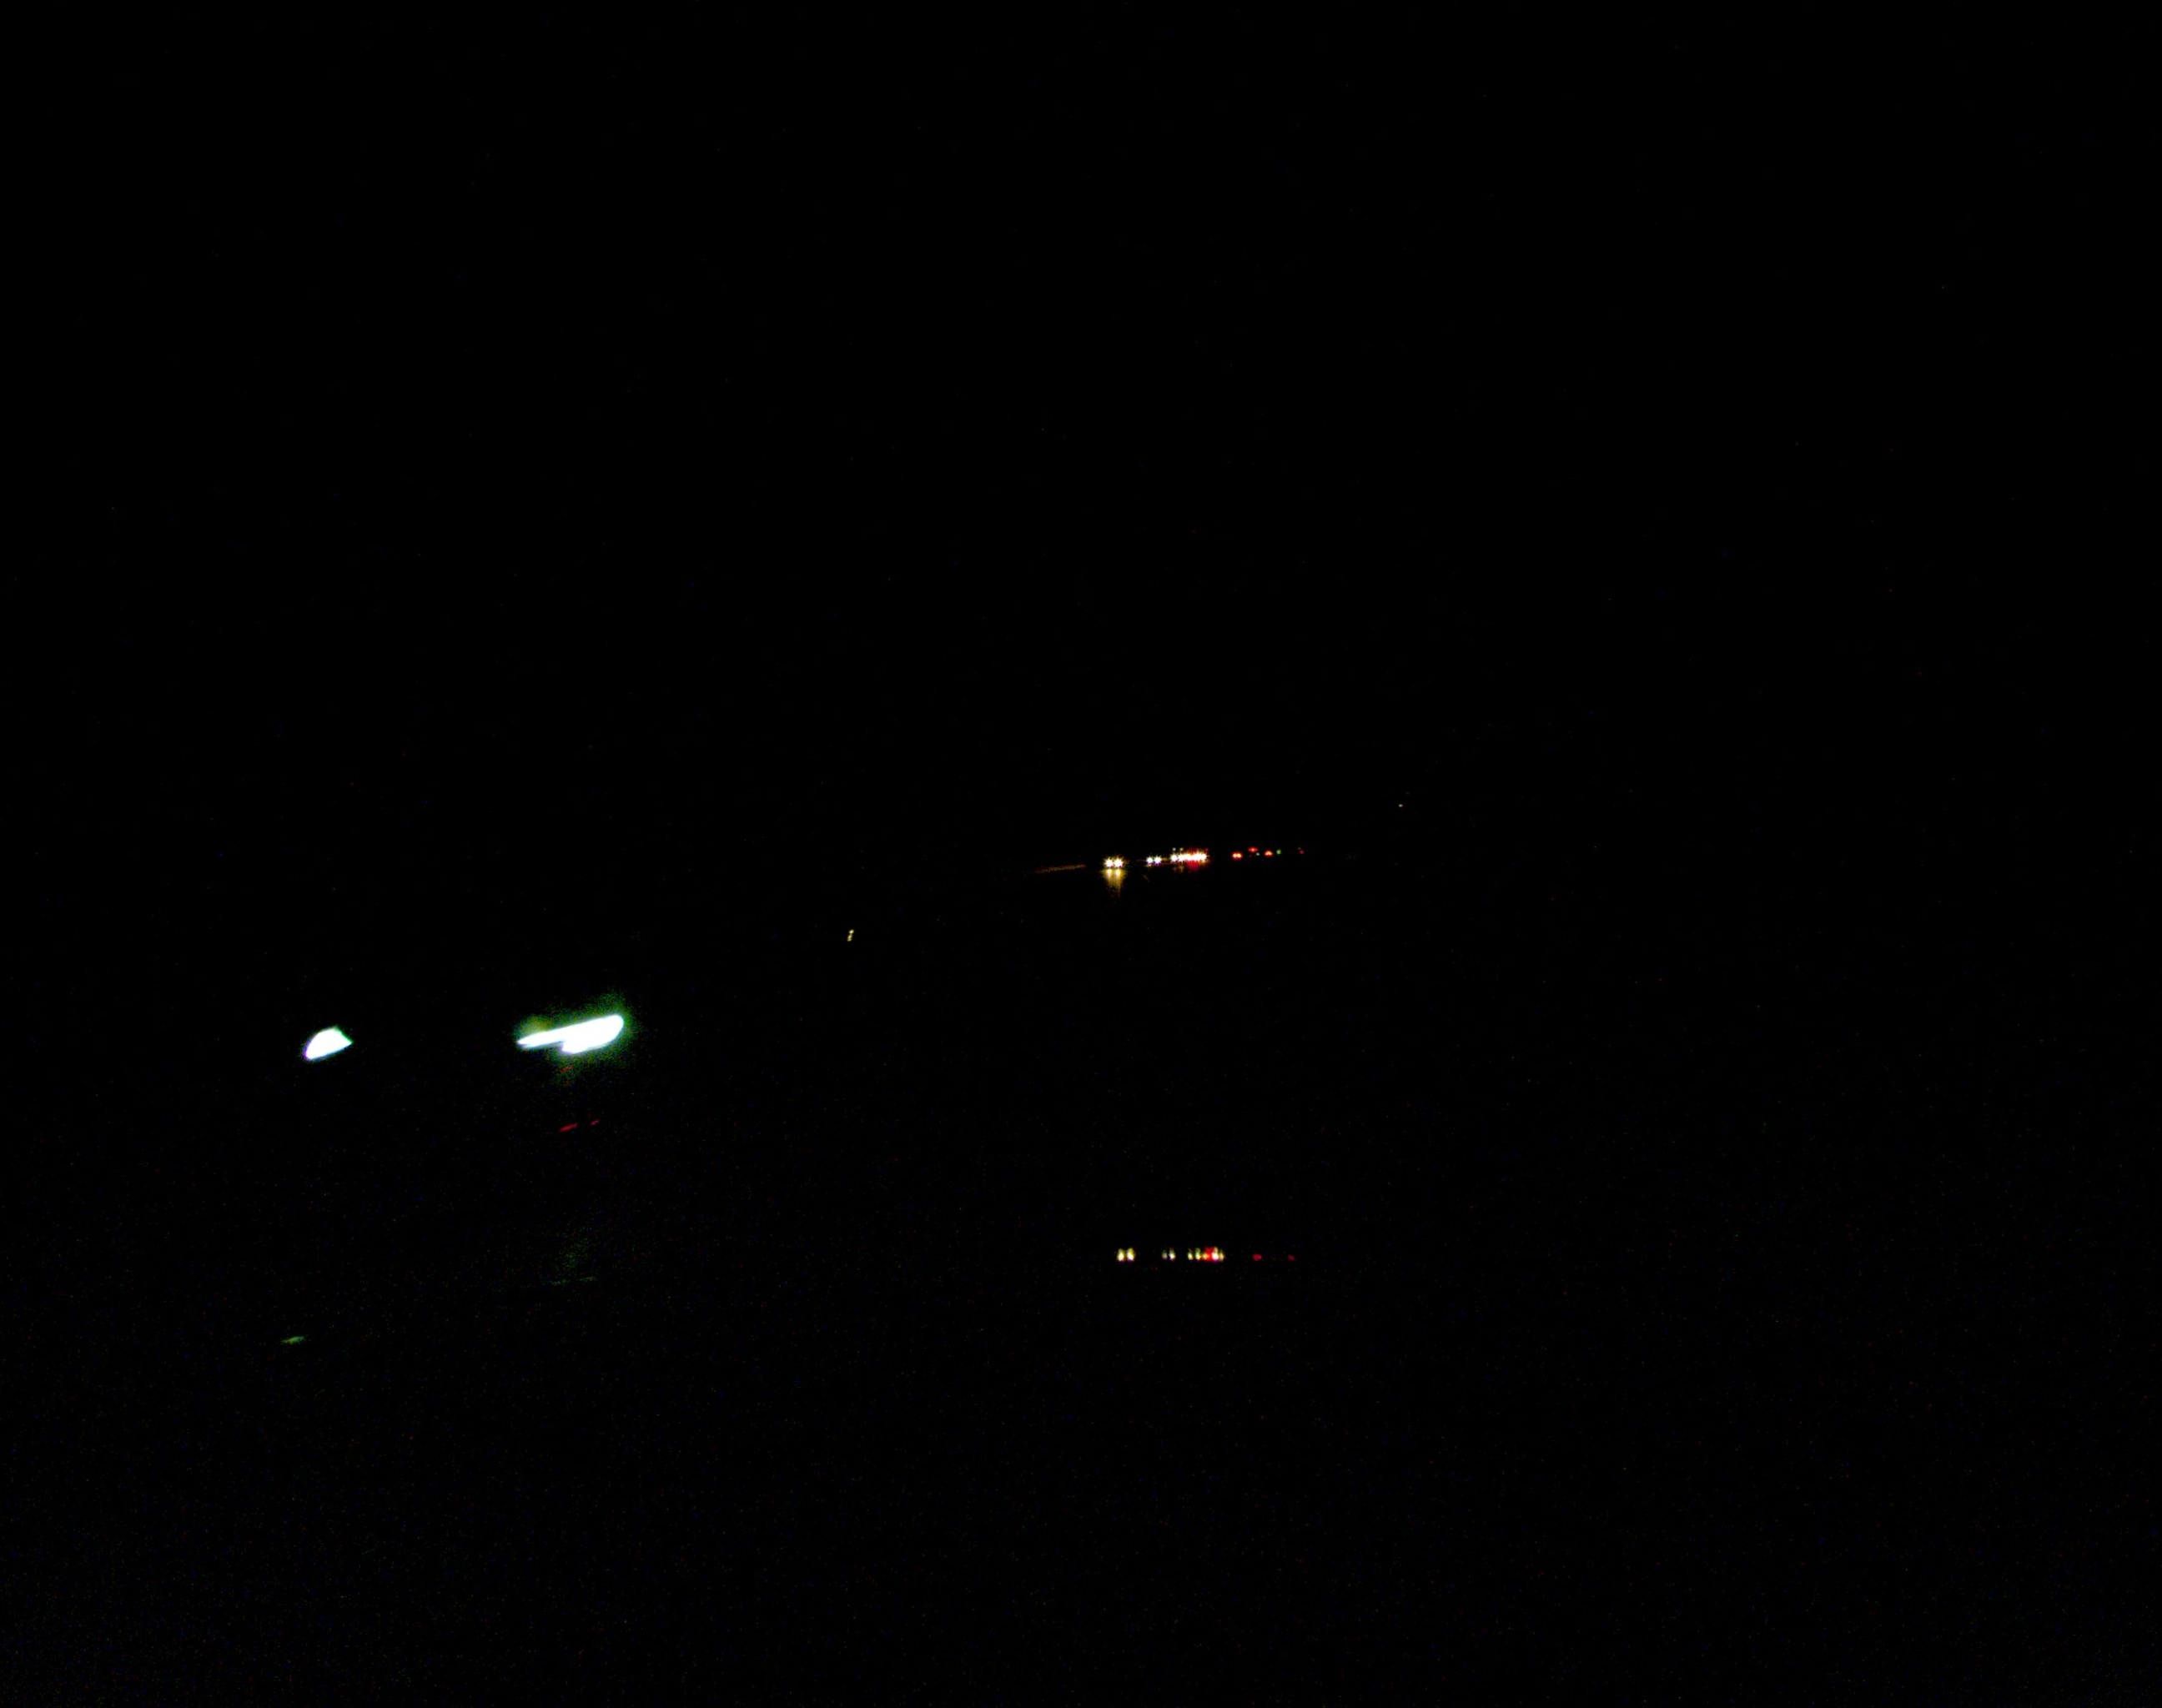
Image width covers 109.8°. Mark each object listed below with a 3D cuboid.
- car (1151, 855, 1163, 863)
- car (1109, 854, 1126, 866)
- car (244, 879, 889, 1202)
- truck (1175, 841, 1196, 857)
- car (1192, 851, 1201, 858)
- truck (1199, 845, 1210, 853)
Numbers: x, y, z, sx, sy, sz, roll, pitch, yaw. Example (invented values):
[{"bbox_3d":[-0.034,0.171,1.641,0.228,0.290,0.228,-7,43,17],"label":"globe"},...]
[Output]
[{"bbox_3d":[15.009,1.063,149.877,1.811,1.508,3.939,0,0,11],"label":"car"},{"bbox_3d":[4.648,0.761,96.469,1.811,1.508,3.938,0,0,8],"label":"car"},{"bbox_3d":[-3.128,0.987,6.140,1.812,1.418,4.875,0,0,1],"label":"car"},{"bbox_3d":[29.037,-1.474,209.923,2.968,4.250,17.163,0,1,17],"label":"truck"},{"bbox_3d":[25.779,0.173,169.783,1.821,1.507,4.526,0,1,12],"label":"car"},{"bbox_3d":[36.342,-1.433,223.723,2.423,2.410,7.100,0,0,17],"label":"truck"}]
